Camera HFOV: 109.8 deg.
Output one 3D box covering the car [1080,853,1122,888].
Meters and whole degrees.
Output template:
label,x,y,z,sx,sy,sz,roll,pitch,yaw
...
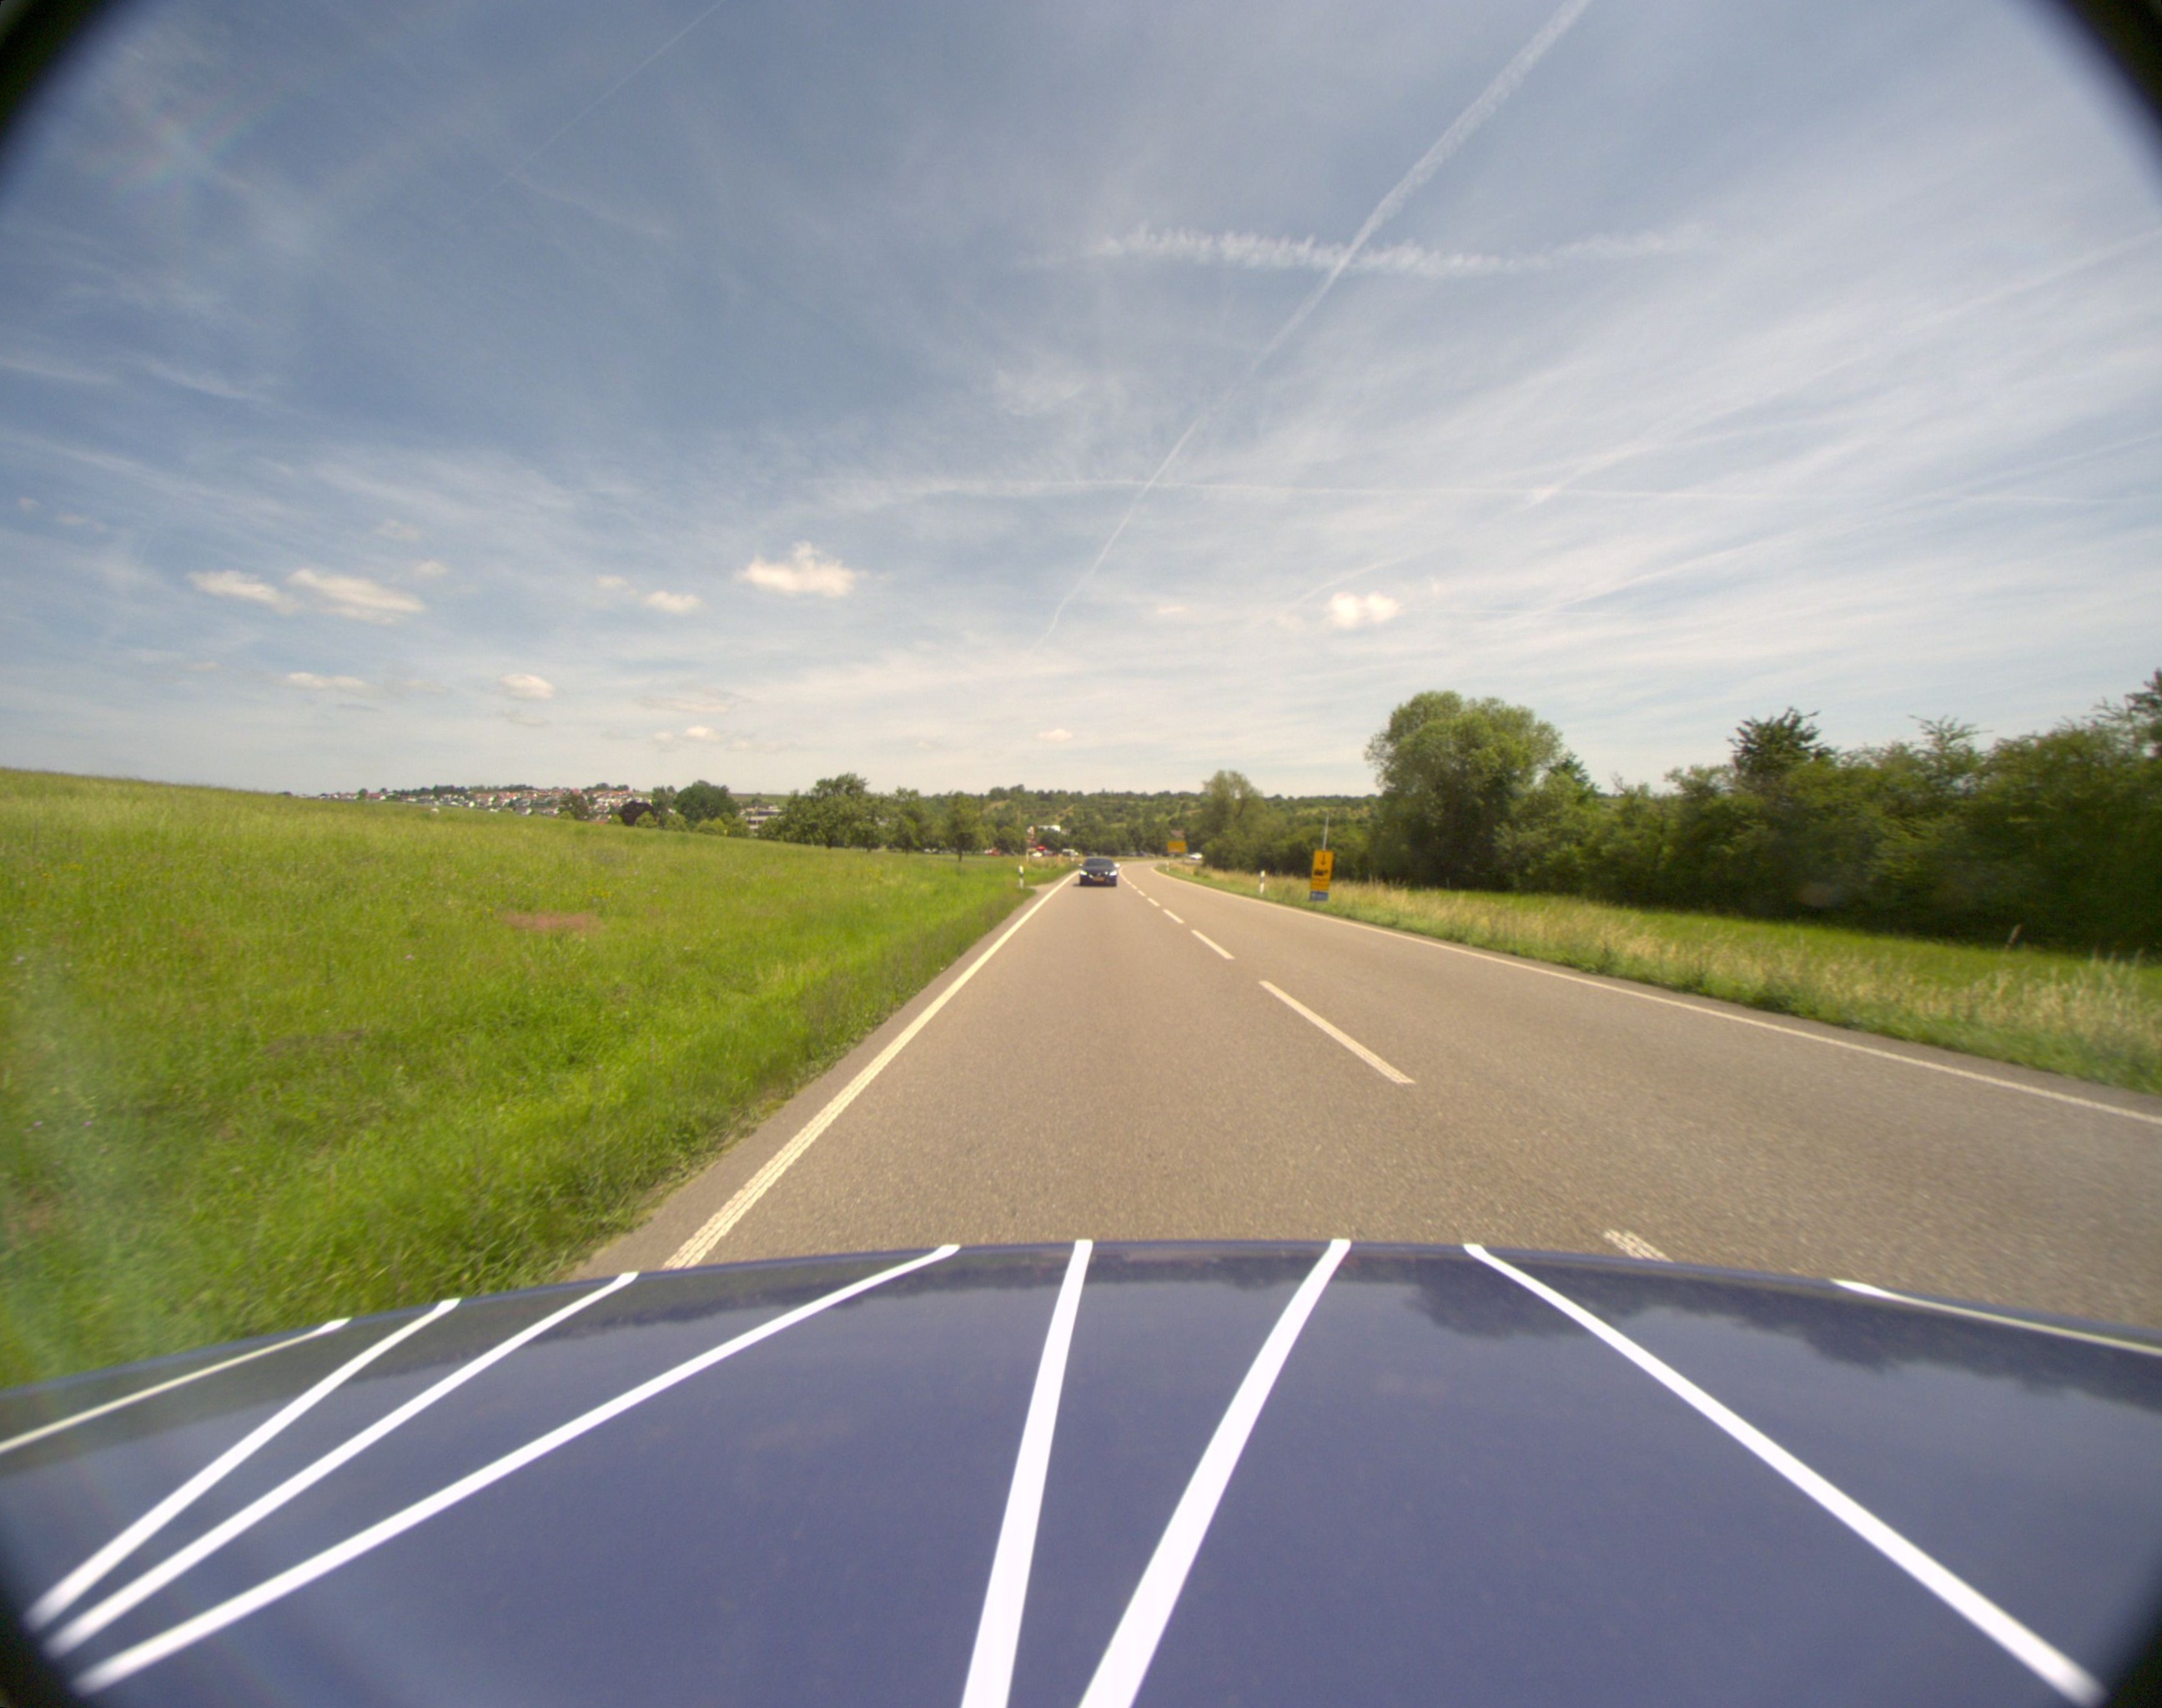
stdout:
label,x,y,z,sx,sy,sz,roll,pitch,yaw
car,0.918,0.742,36.302,1.785,1.440,4.604,3,1,0
